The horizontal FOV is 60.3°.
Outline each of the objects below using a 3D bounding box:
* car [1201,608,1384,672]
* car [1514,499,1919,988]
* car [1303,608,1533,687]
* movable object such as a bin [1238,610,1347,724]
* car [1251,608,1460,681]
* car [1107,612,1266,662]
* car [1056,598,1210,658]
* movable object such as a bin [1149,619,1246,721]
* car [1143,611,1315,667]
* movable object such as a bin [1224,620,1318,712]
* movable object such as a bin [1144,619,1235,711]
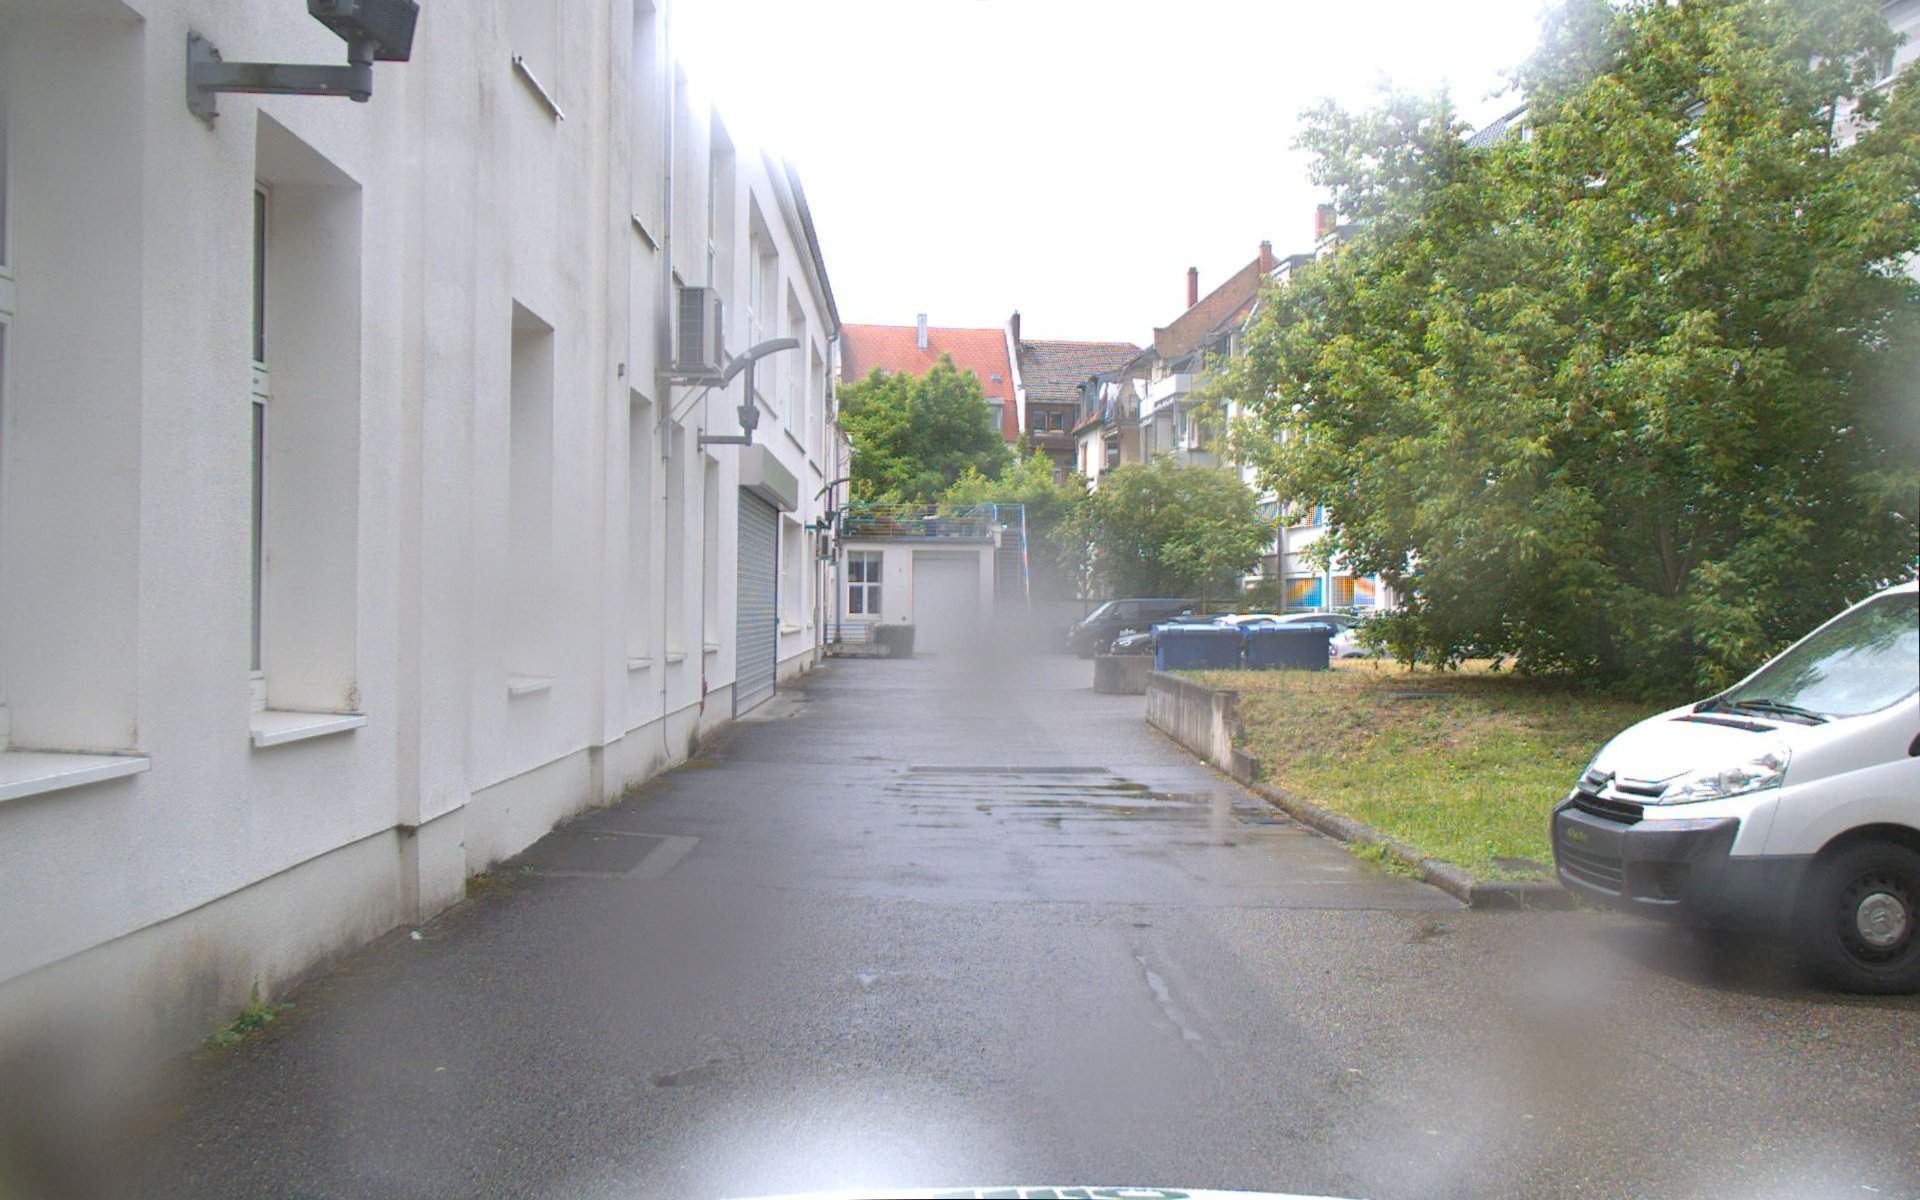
[{"bbox_3d":[8.055,0.956,40.253,4.018,1.481,1.831,0,0,-6],"label":"car"},{"bbox_3d":[5.421,0.648,7.966,4.834,2.049,2.000,1,0,1],"label":"car"},{"bbox_3d":[8.797,0.902,31.976,3.907,1.378,1.790,-1,0,-2],"label":"car"},{"bbox_3d":[4.668,0.925,23.322,1.249,1.509,1.101,2,0,-2],"label":"movable object such as a bin"},{"bbox_3d":[8.356,0.928,35.086,4.000,1.483,1.666,0,-1,-6],"label":"car"},{"bbox_3d":[6.571,1.064,48.178,4.272,1.372,1.857,0,0,-9],"label":"car"},{"bbox_3d":[5.607,0.881,53.913,4.621,1.865,2.107,-1,0,-8],"label":"car"},{"bbox_3d":[3.335,0.974,23.317,1.151,1.340,1.055,2,1,-2],"label":"movable object such as a bin"},{"bbox_3d":[7.056,1.013,43.611,4.092,1.425,1.936,0,-1,-9],"label":"car"},{"bbox_3d":[4.699,0.984,25.082,1.205,1.340,1.055,0,1,-2],"label":"movable object such as a bin"},{"bbox_3d":[3.458,0.970,25.039,1.205,1.340,1.055,0,1,-2],"label":"movable object such as a bin"}]
